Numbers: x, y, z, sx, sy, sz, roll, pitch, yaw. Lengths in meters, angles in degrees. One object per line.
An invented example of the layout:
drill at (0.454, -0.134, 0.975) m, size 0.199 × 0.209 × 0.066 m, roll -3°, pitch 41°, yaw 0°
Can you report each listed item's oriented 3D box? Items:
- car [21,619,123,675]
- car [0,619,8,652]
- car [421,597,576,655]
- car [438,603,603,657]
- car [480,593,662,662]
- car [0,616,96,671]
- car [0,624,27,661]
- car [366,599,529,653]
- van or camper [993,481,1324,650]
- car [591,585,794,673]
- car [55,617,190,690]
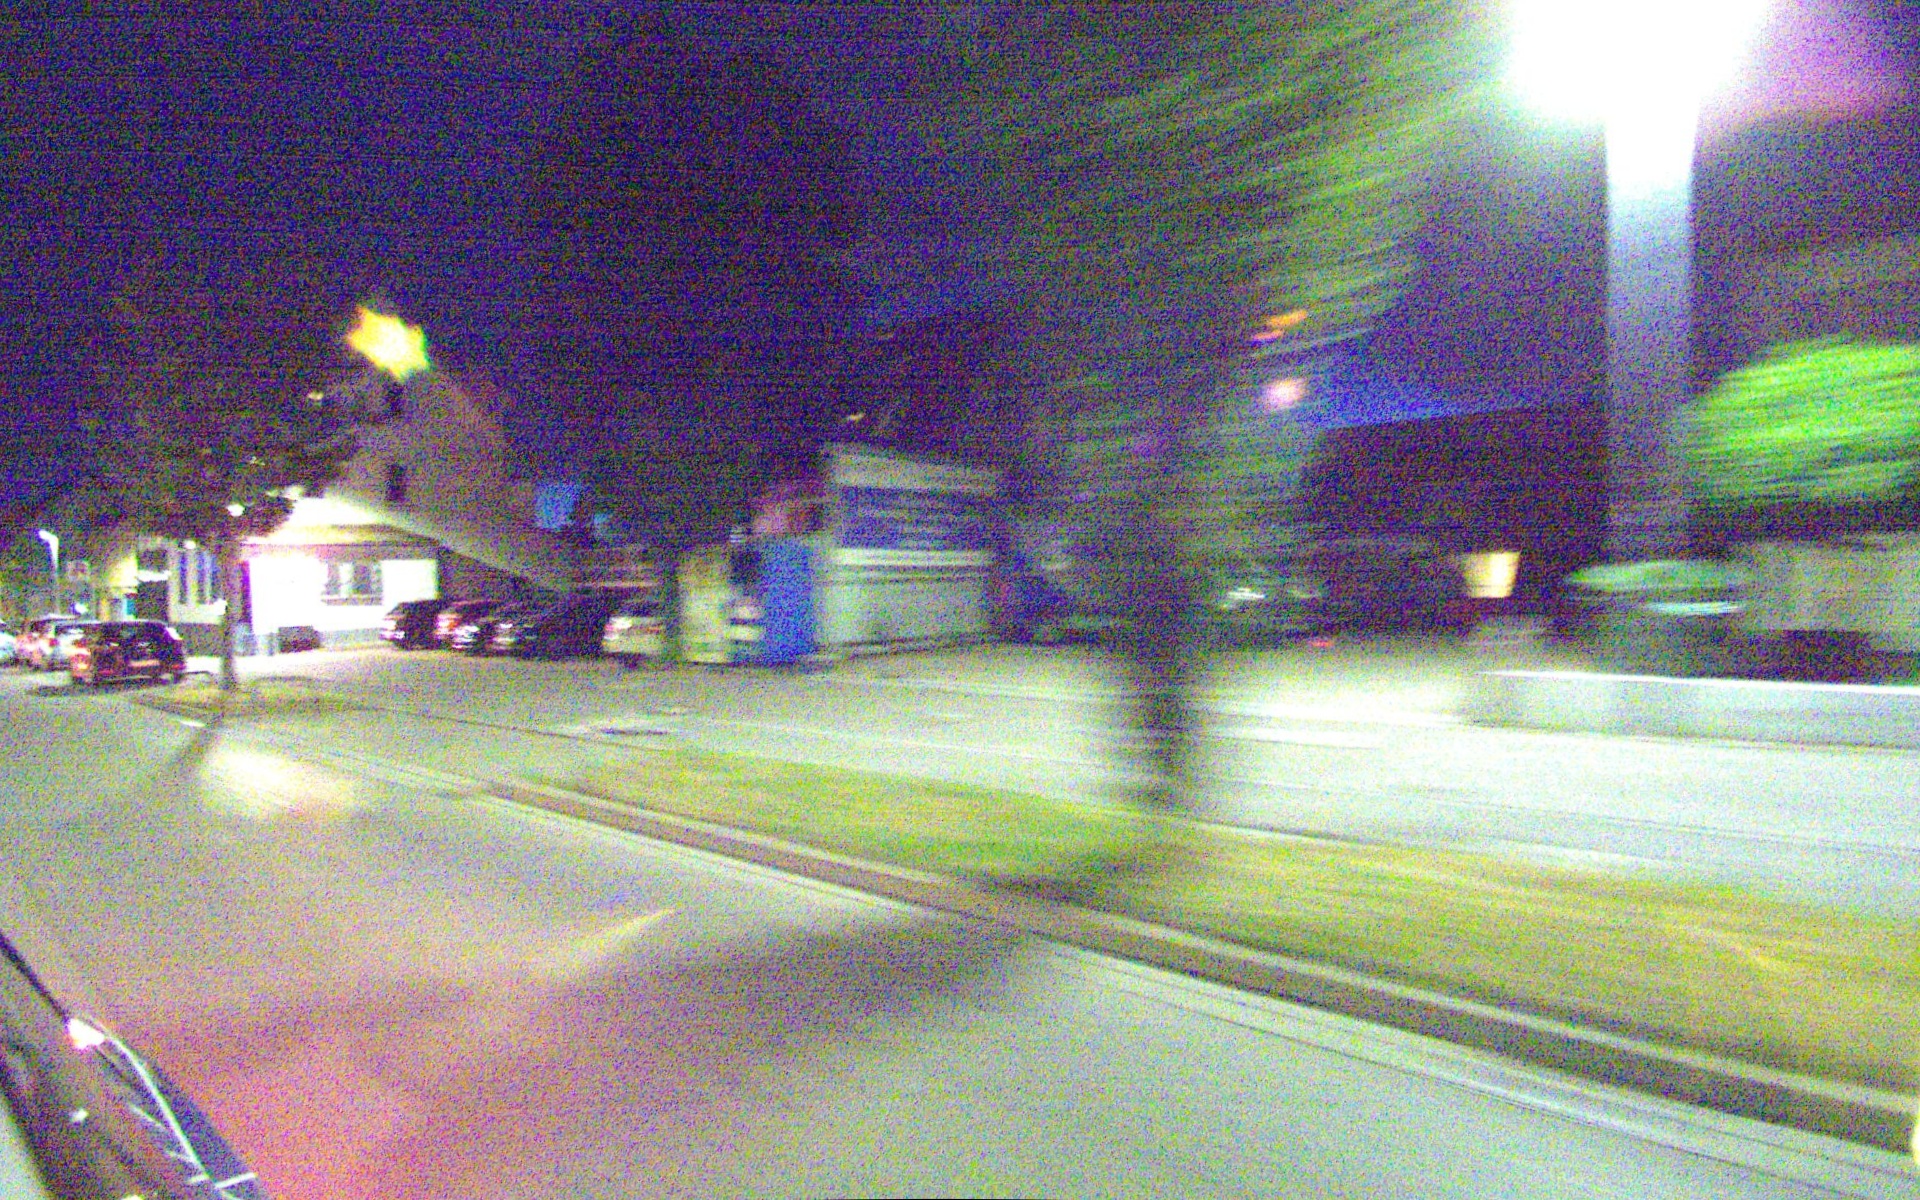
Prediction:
car at (-26.832, 1.390, 30.549) m, size 3.964 × 1.479 × 1.753 m, roll -2°, pitch 1°, yaw 41°
car at (-50.318, 1.864, 51.618) m, size 4.166 × 1.683 × 2.095 m, roll -2°, pitch 1°, yaw 40°
car at (-14.373, 0.763, 31.645) m, size 2.001 × 1.630 × 3.942 m, roll -1°, pitch 0°, yaw 45°
car at (-12.703, 0.848, 29.396) m, size 2.000 × 1.475 × 3.943 m, roll -1°, pitch -2°, yaw 43°
car at (-10.264, 0.732, 26.888) m, size 2.000 × 1.674 × 4.071 m, roll -3°, pitch -3°, yaw 43°
car at (-30.808, 1.432, 34.089) m, size 4.468 × 1.649 × 1.909 m, roll -2°, pitch 1°, yaw 41°
car at (-45.756, 2.031, 47.574) m, size 4.473 × 1.559 × 2.095 m, roll 0°, pitch 4°, yaw 40°
car at (-16.568, 0.807, 32.887) m, size 2.024 × 1.573 × 4.276 m, roll -1°, pitch 0°, yaw 34°
van or camper at (3.598, -0.547, 19.300) m, size 5.926 × 2.768 × 2.053 m, roll -1°, pitch 1°, yaw 41°
car at (-5.668, 0.639, 21.879) m, size 1.943 × 1.716 × 3.953 m, roll -1°, pitch -2°, yaw 34°
car at (-19.342, 1.187, 23.309) m, size 4.006 × 1.480 × 1.731 m, roll -2°, pitch 0°, yaw 41°
